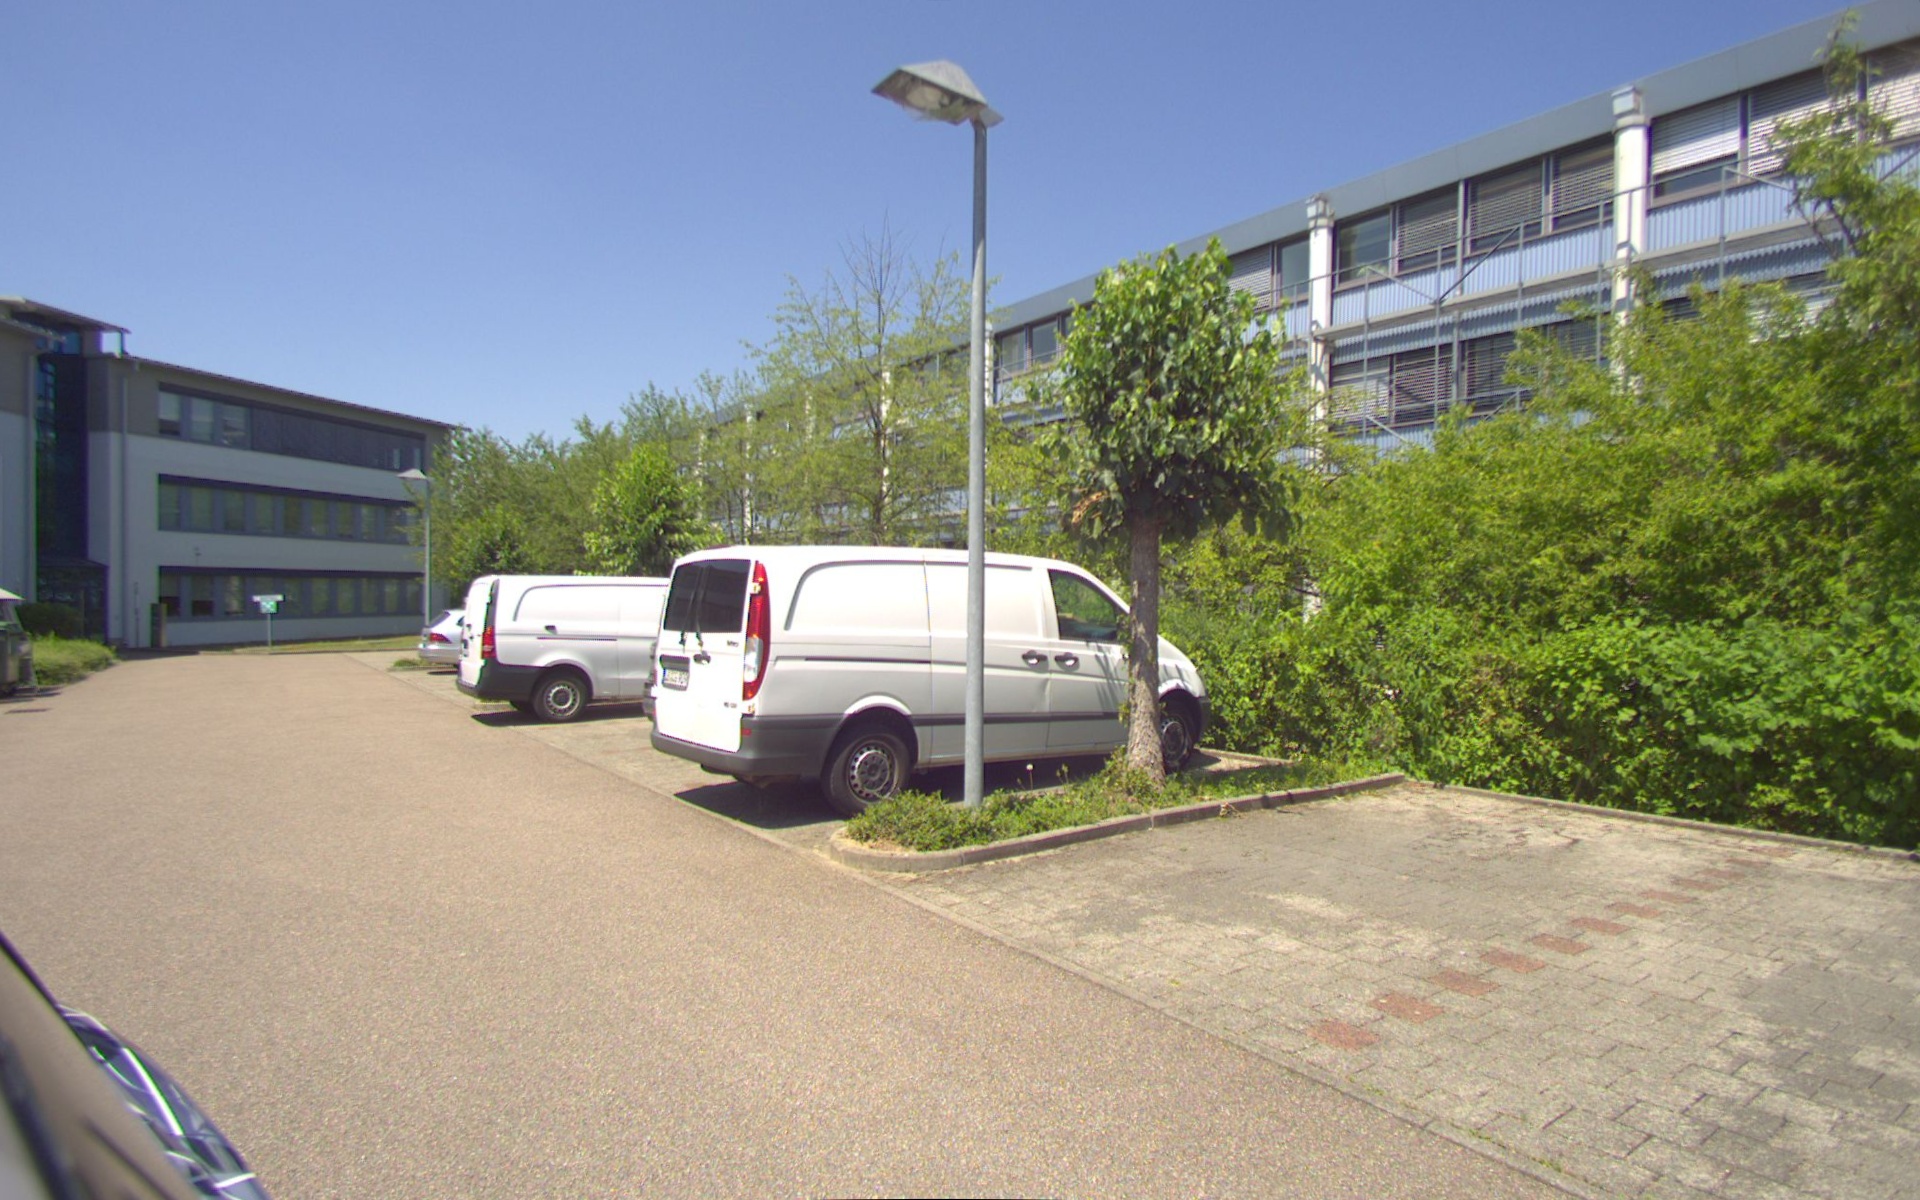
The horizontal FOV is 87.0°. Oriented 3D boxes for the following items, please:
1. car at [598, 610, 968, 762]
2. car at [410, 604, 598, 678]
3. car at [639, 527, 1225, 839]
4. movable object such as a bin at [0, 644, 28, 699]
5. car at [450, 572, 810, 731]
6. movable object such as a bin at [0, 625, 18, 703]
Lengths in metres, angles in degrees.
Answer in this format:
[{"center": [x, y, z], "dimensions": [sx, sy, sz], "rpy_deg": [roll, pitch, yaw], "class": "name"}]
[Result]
[{"center": [-1.888, 0.827, 11.337], "dimensions": [3.789, 1.404, 1.580], "rpy_deg": [0, -1, -37], "class": "car"}, {"center": [-10.521, 0.896, 23.454], "dimensions": [3.704, 1.569, 1.664], "rpy_deg": [0, -1, -37], "class": "car"}, {"center": [-0.038, 0.515, 8.376], "dimensions": [4.658, 1.920, 1.833], "rpy_deg": [0, -1, -37], "class": "car"}, {"center": [-17.307, 1.289, 18.189], "dimensions": [0.679, 0.956, 0.724], "rpy_deg": [0, -1, -31], "class": "movable object such as a bin"}, {"center": [-4.510, 0.621, 14.160], "dimensions": [4.447, 1.896, 1.833], "rpy_deg": [0, -1, -37], "class": "car"}, {"center": [-17.101, 1.099, 17.242], "dimensions": [1.341, 1.306, 1.046], "rpy_deg": [0, -1, -31], "class": "movable object such as a bin"}]
